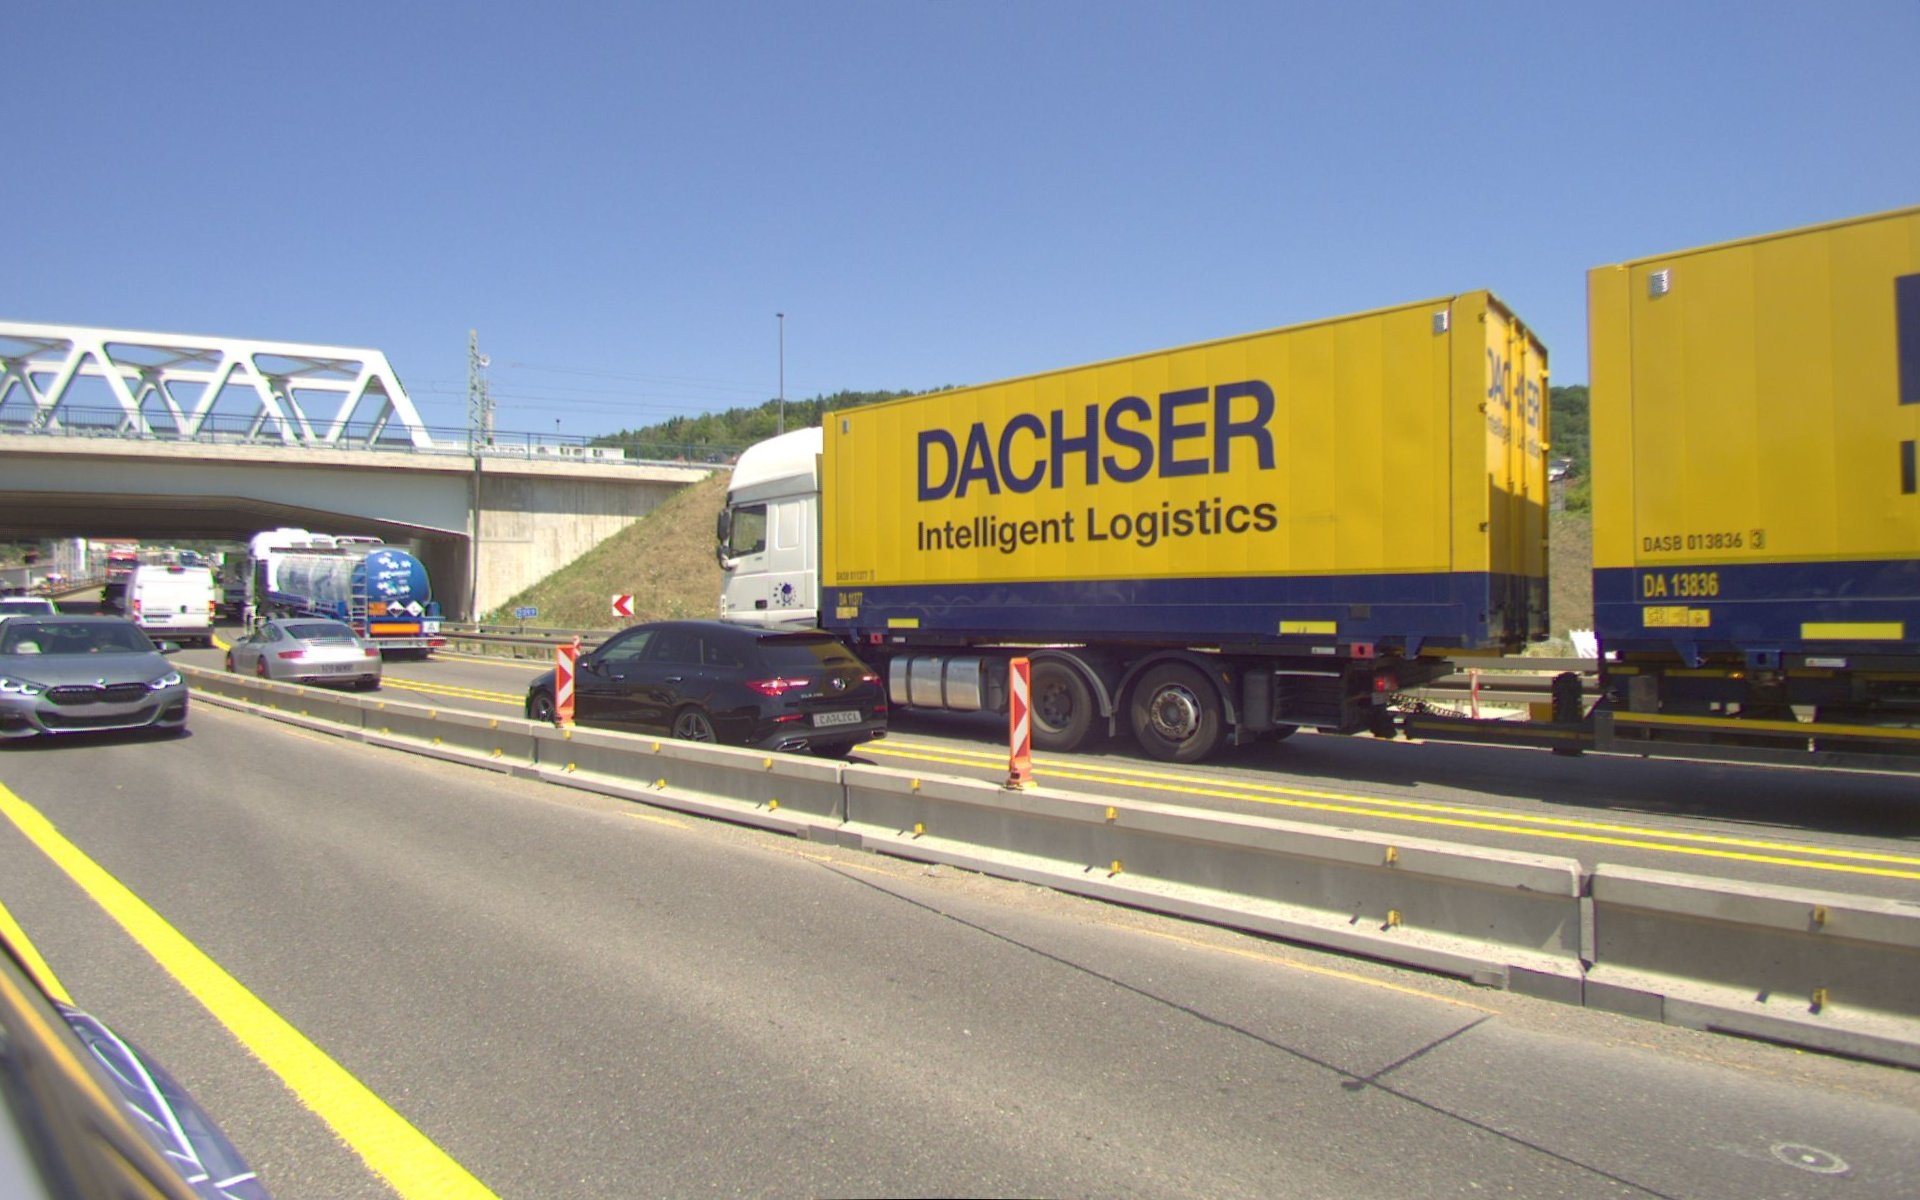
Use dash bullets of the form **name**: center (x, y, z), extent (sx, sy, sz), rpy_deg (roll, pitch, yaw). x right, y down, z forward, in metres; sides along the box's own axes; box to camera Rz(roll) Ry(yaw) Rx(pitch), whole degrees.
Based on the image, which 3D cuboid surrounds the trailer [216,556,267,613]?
- **trailer**: center (-56.366, -1.215, 79.225), extent (2.839, 4.070, 14.391), rpy_deg (-1, 1, -37)

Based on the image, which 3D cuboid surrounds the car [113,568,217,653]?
- **car**: center (-26.133, 0.280, 33.147), extent (2.047, 2.522, 6.489), rpy_deg (1, 0, -44)

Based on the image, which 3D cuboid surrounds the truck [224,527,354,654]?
- **truck**: center (-22.179, -0.318, 33.387), extent (4.951, 3.850, 2.506), rpy_deg (1, 1, 43)

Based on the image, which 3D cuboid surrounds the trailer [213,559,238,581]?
- **trailer**: center (-135.430, -5.613, 186.732), extent (2.619, 3.844, 11.858), rpy_deg (1, 2, -31)

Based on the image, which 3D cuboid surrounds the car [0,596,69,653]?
- **car**: center (-28.484, 0.691, 30.757), extent (1.810, 1.484, 4.399), rpy_deg (1, 2, -38)

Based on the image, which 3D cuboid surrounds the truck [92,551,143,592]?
- **truck**: center (-89.146, -3.117, 107.239), extent (3.408, 4.077, 10.237), rpy_deg (1, 2, -35)

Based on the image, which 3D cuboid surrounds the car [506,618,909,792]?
- **car**: center (-2.720, 0.895, 10.231), extent (4.500, 1.372, 1.659), rpy_deg (-1, -1, 41)

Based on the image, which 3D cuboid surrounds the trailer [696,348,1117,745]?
- **trailer**: center (-0.856, -0.556, 13.679), extent (5.217, 4.261, 2.835), rpy_deg (0, -1, 42)

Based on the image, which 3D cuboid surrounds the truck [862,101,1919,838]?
- **truck**: center (5.532, -0.764, 8.000), extent (15.366, 4.375, 2.778), rpy_deg (-1, -1, 41)

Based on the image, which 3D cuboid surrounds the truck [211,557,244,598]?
- **truck**: center (-84.646, -2.704, 116.888), extent (2.733, 4.345, 13.522), rpy_deg (1, 2, -37)

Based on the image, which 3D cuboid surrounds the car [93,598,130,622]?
- **car**: center (-56.042, 0.637, 66.856), extent (1.774, 1.563, 4.006), rpy_deg (0, 0, -41)

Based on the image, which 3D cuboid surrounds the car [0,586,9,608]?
- **car**: center (-118.882, -0.244, 121.737), extent (2.054, 2.600, 6.223), rpy_deg (0, 3, 41)

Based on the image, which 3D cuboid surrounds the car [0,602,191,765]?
- **car**: center (-10.934, 0.854, 12.247), extent (4.388, 1.609, 1.814), rpy_deg (1, 0, 42)

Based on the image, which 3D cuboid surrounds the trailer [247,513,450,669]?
- **trailer**: center (-17.910, -0.273, 29.191), extent (10.249, 3.817, 2.497), rpy_deg (1, 1, 44)

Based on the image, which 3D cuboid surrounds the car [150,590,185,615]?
- **car**: center (-54.016, 0.168, 69.009), extent (1.723, 1.683, 4.088), rpy_deg (1, 0, -37)

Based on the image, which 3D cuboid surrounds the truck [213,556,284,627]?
- **truck**: center (-39.064, -0.478, 55.437), extent (2.780, 3.602, 8.516), rpy_deg (0, 0, -38)

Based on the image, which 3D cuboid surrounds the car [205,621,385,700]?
- **car**: center (-12.341, 1.043, 18.682), extent (4.333, 1.274, 1.659), rpy_deg (-1, -1, 41)
